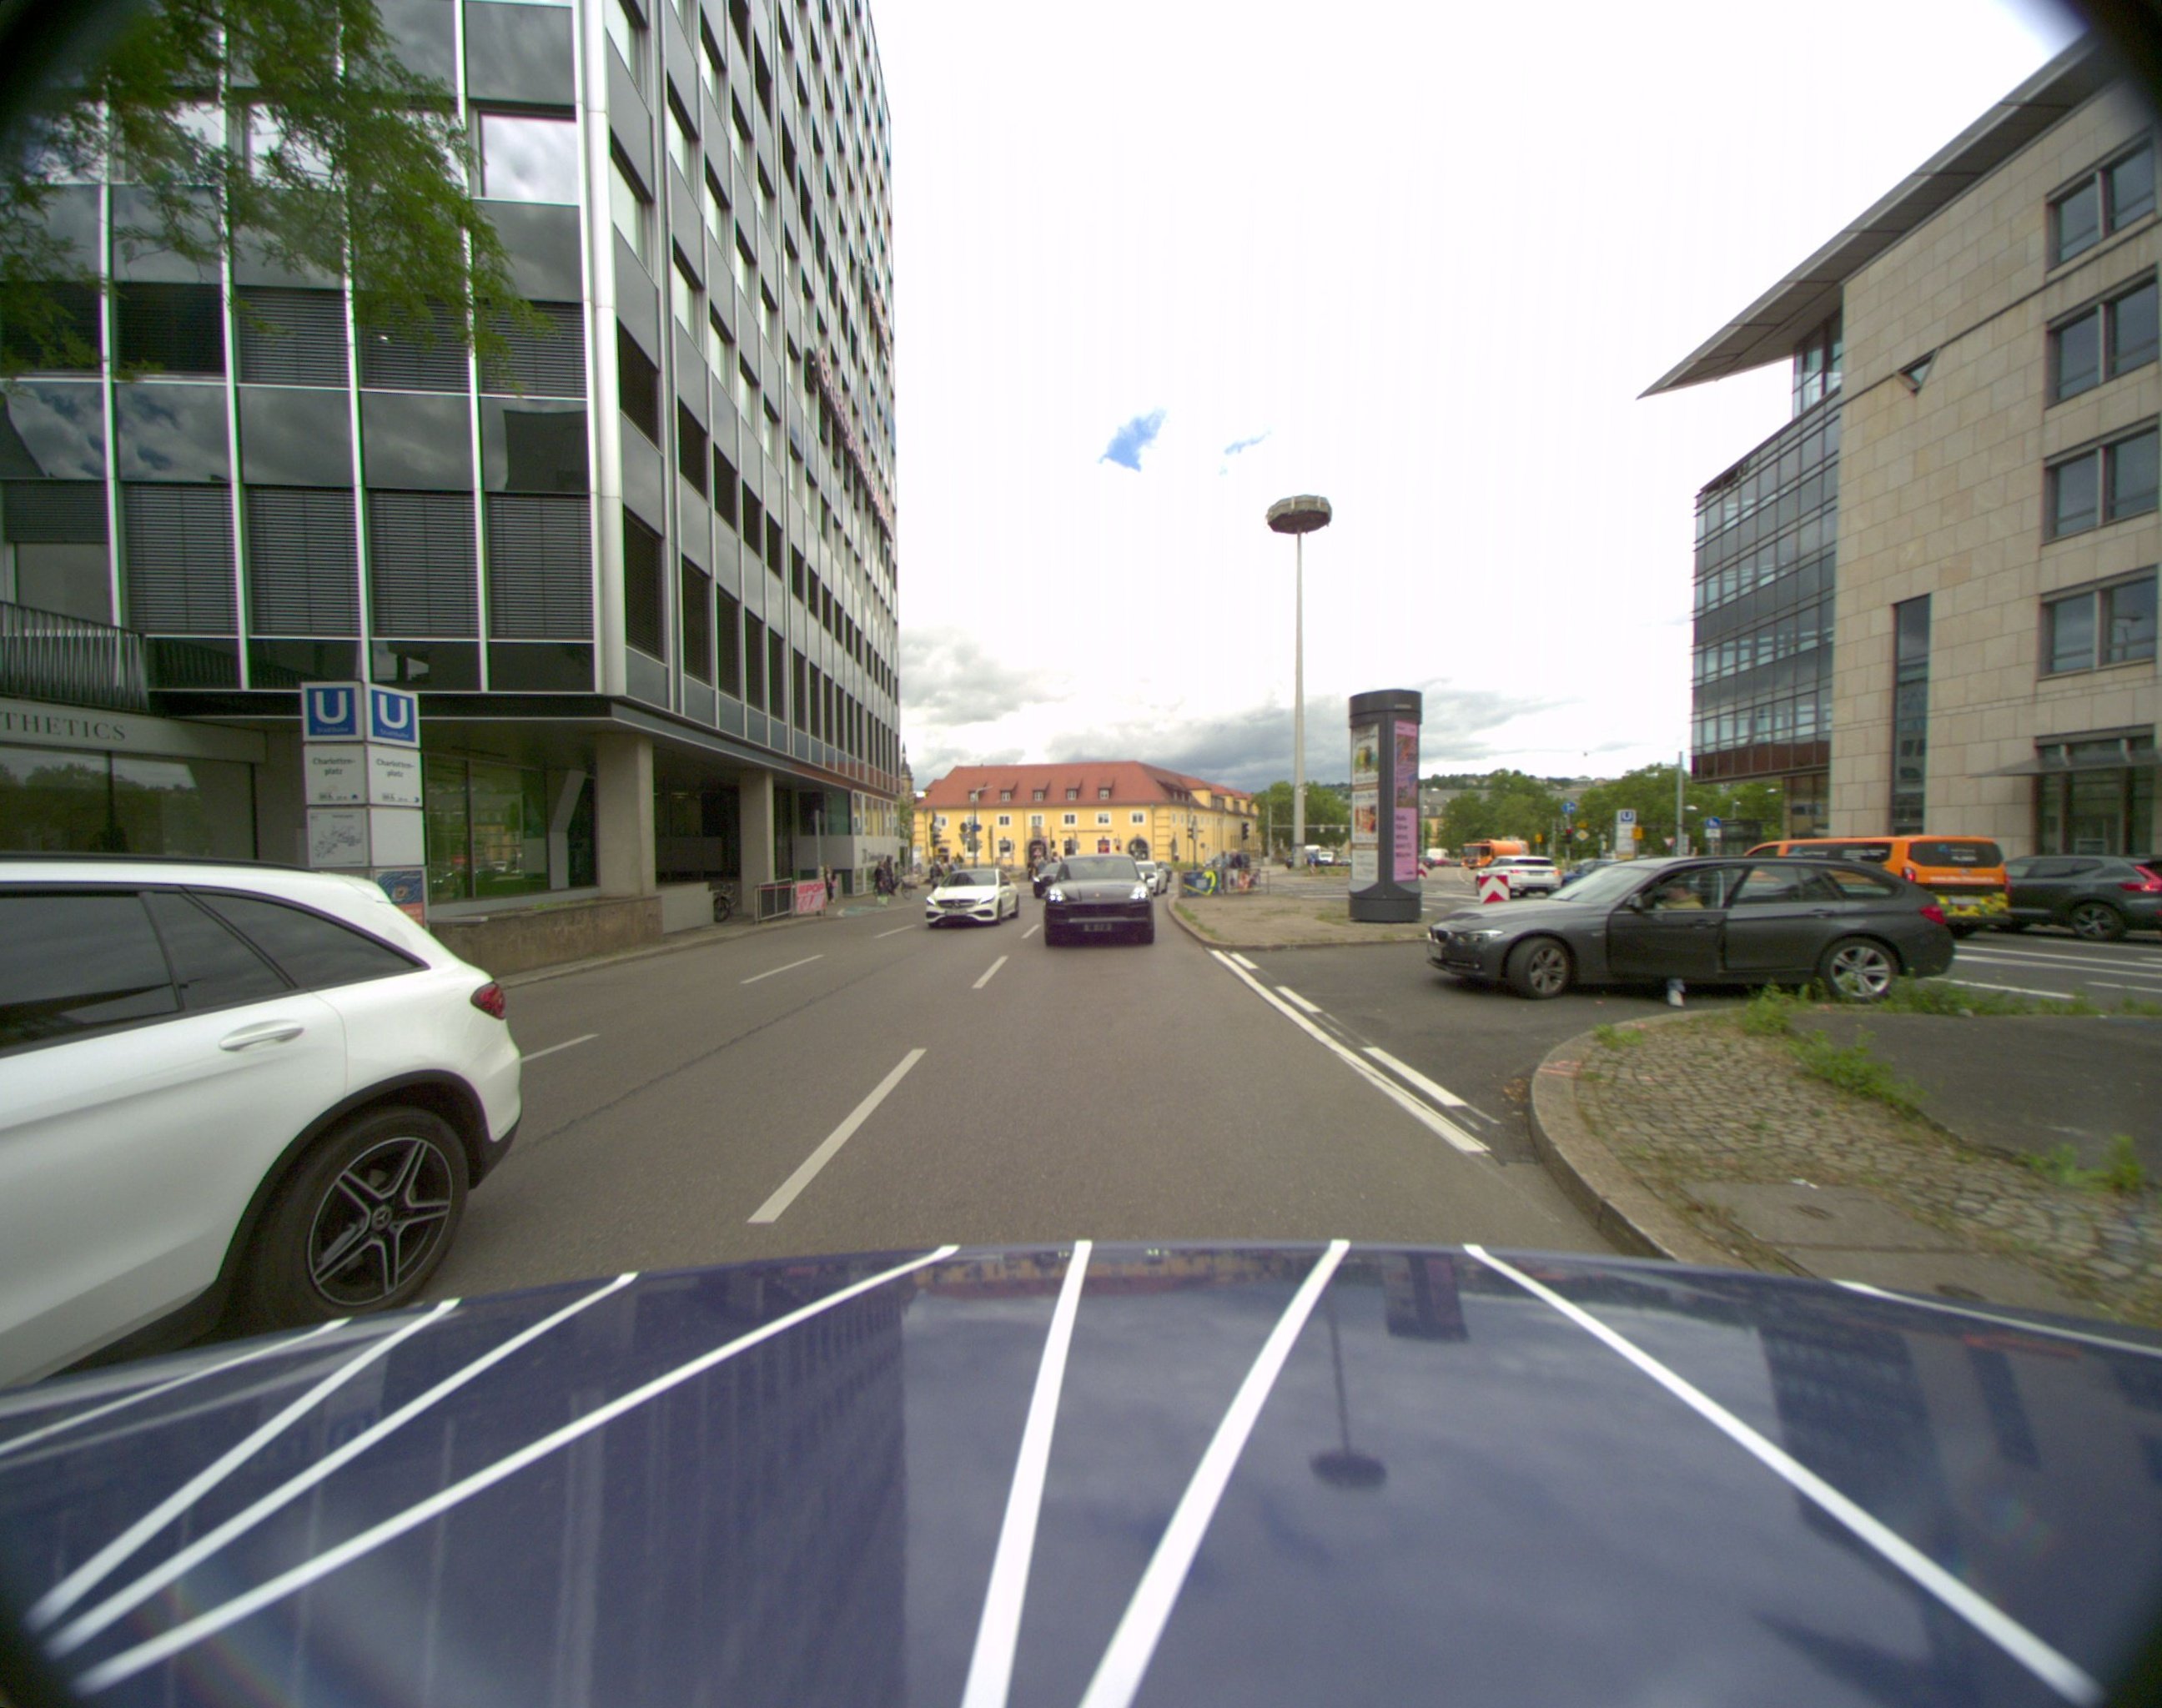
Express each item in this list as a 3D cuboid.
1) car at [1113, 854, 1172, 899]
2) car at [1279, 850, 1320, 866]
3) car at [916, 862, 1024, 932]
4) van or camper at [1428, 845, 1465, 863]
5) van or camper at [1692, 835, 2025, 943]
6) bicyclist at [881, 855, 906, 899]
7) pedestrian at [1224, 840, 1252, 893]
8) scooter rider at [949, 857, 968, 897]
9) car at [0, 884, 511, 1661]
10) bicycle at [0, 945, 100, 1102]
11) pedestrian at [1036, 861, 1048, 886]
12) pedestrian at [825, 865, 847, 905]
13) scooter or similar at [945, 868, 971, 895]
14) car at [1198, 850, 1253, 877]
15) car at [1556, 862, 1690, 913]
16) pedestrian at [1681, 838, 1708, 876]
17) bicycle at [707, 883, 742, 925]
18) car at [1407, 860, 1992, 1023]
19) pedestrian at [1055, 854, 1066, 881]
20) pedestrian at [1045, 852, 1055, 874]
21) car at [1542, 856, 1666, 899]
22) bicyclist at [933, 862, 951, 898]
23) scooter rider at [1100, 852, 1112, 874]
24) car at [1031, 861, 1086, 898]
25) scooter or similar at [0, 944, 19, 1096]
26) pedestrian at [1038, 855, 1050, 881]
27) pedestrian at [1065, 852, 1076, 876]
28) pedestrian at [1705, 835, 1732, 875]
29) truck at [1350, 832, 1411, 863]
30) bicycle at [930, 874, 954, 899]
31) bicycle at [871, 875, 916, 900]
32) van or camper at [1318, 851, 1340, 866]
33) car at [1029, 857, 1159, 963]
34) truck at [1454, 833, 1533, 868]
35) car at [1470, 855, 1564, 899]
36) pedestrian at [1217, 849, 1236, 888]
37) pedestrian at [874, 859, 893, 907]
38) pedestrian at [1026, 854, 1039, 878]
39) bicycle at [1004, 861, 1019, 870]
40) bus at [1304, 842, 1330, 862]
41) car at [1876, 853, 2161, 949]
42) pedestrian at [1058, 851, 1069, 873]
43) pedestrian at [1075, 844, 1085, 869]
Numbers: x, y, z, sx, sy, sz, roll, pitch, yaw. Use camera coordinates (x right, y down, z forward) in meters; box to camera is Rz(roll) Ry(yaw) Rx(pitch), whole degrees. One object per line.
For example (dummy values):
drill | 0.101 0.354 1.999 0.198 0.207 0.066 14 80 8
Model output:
car | 2.764 1.046 33.137 2.094 1.598 4.419 -3 -5 9
car | 22.177 0.368 77.210 3.804 1.567 2.001 0 0 10
car | -2.733 1.015 19.850 1.870 1.560 4.653 -1 0 3
van or camper | 50.635 -0.040 105.193 6.173 2.463 2.141 0 1 -38
van or camper | 16.020 0.619 16.208 1.917 1.910 5.083 1 0 1
bicyclist | -7.916 0.969 32.101 0.812 1.835 0.676 1 1 27
pedestrian | 6.493 0.511 31.365 0.879 2.160 0.762 0 1 -17
scooter rider | -5.646 1.056 34.984 0.594 1.798 0.641 -1 2 -40
car | -3.292 0.959 0.988 1.806 1.637 4.334 1 0 1
bicycle | -8.480 1.332 5.437 0.490 1.126 1.843 -1 0 0
pedestrian | -2.902 1.428 56.085 0.670 1.805 0.701 -1 1 -20
pedestrian | -9.129 1.155 28.330 0.606 1.434 0.838 0 1 -3
scooter or similar | -5.689 1.263 35.038 0.594 1.169 1.320 -1 1 -40
car | 11.540 0.713 60.543 4.651 1.977 1.855 -1 2 -43
car | 16.355 0.956 23.155 1.560 1.371 3.633 1 0 2
pedestrian | 26.426 0.120 32.749 0.653 1.605 0.967 0 3 24
bicycle | -9.736 1.358 20.804 0.715 1.042 1.484 -1 0 -19
car | 6.155 0.827 8.173 4.558 1.450 1.882 -1 0 9
pedestrian | -1.541 0.990 56.475 0.611 1.953 0.641 -1 1 -22
pedestrian | -2.398 0.663 58.702 0.611 1.686 0.641 -1 1 -22
car | 19.675 0.835 28.832 1.998 1.516 4.092 0 0 3
bicyclist | -6.220 1.144 33.884 0.566 1.541 0.844 0 1 -28
scooter rider | 1.917 0.671 58.037 0.767 1.684 0.745 -1 1 -15
car | -0.933 1.083 33.542 1.706 1.524 3.766 0 0 10
scooter or similar | -8.996 1.379 5.870 0.307 1.244 0.995 -1 0 -12
pedestrian | -2.667 1.000 55.357 0.670 1.851 0.701 -1 1 -20
pedestrian | -0.802 0.783 59.207 0.611 1.786 0.641 -1 1 -22
pedestrian | 27.240 0.027 32.486 0.604 1.622 0.787 -4 2 22
truck | 27.496 -0.602 69.676 5.798 2.767 1.952 0 0 -28
bicycle | -6.223 1.432 33.892 0.582 1.021 1.666 0 1 -28
bicycle | -7.930 1.418 32.120 1.763 1.001 0.682 1 -1 26
van or camper | 38.410 0.627 117.476 2.369 2.249 6.299 1 0 25
car | 0.342 0.889 14.387 2.004 1.628 5.022 -1 0 3
truck | 45.980 -0.413 84.626 9.190 3.593 2.724 -1 -2 -26
car | 16.850 0.831 29.615 1.737 1.589 4.322 0 0 9
pedestrian | 6.786 0.674 35.437 0.717 1.779 0.634 3 -1 1
pedestrian | -7.268 1.049 27.981 0.526 1.702 0.752 1 2 -4
pedestrian | -3.397 0.850 53.660 0.802 1.688 0.547 0 1 -17
bicycle | -8.546 1.401 93.731 1.769 1.079 0.622 -1 0 11
bus | 40.392 -0.382 129.667 3.428 3.185 13.082 -1 0 21
car | 19.485 0.814 15.321 1.998 1.636 4.683 1 0 1
pedestrian | -1.329 0.590 57.905 0.611 1.686 0.641 -1 1 -22
pedestrian | -0.108 0.217 60.520 0.611 1.943 0.642 -1 1 -19
